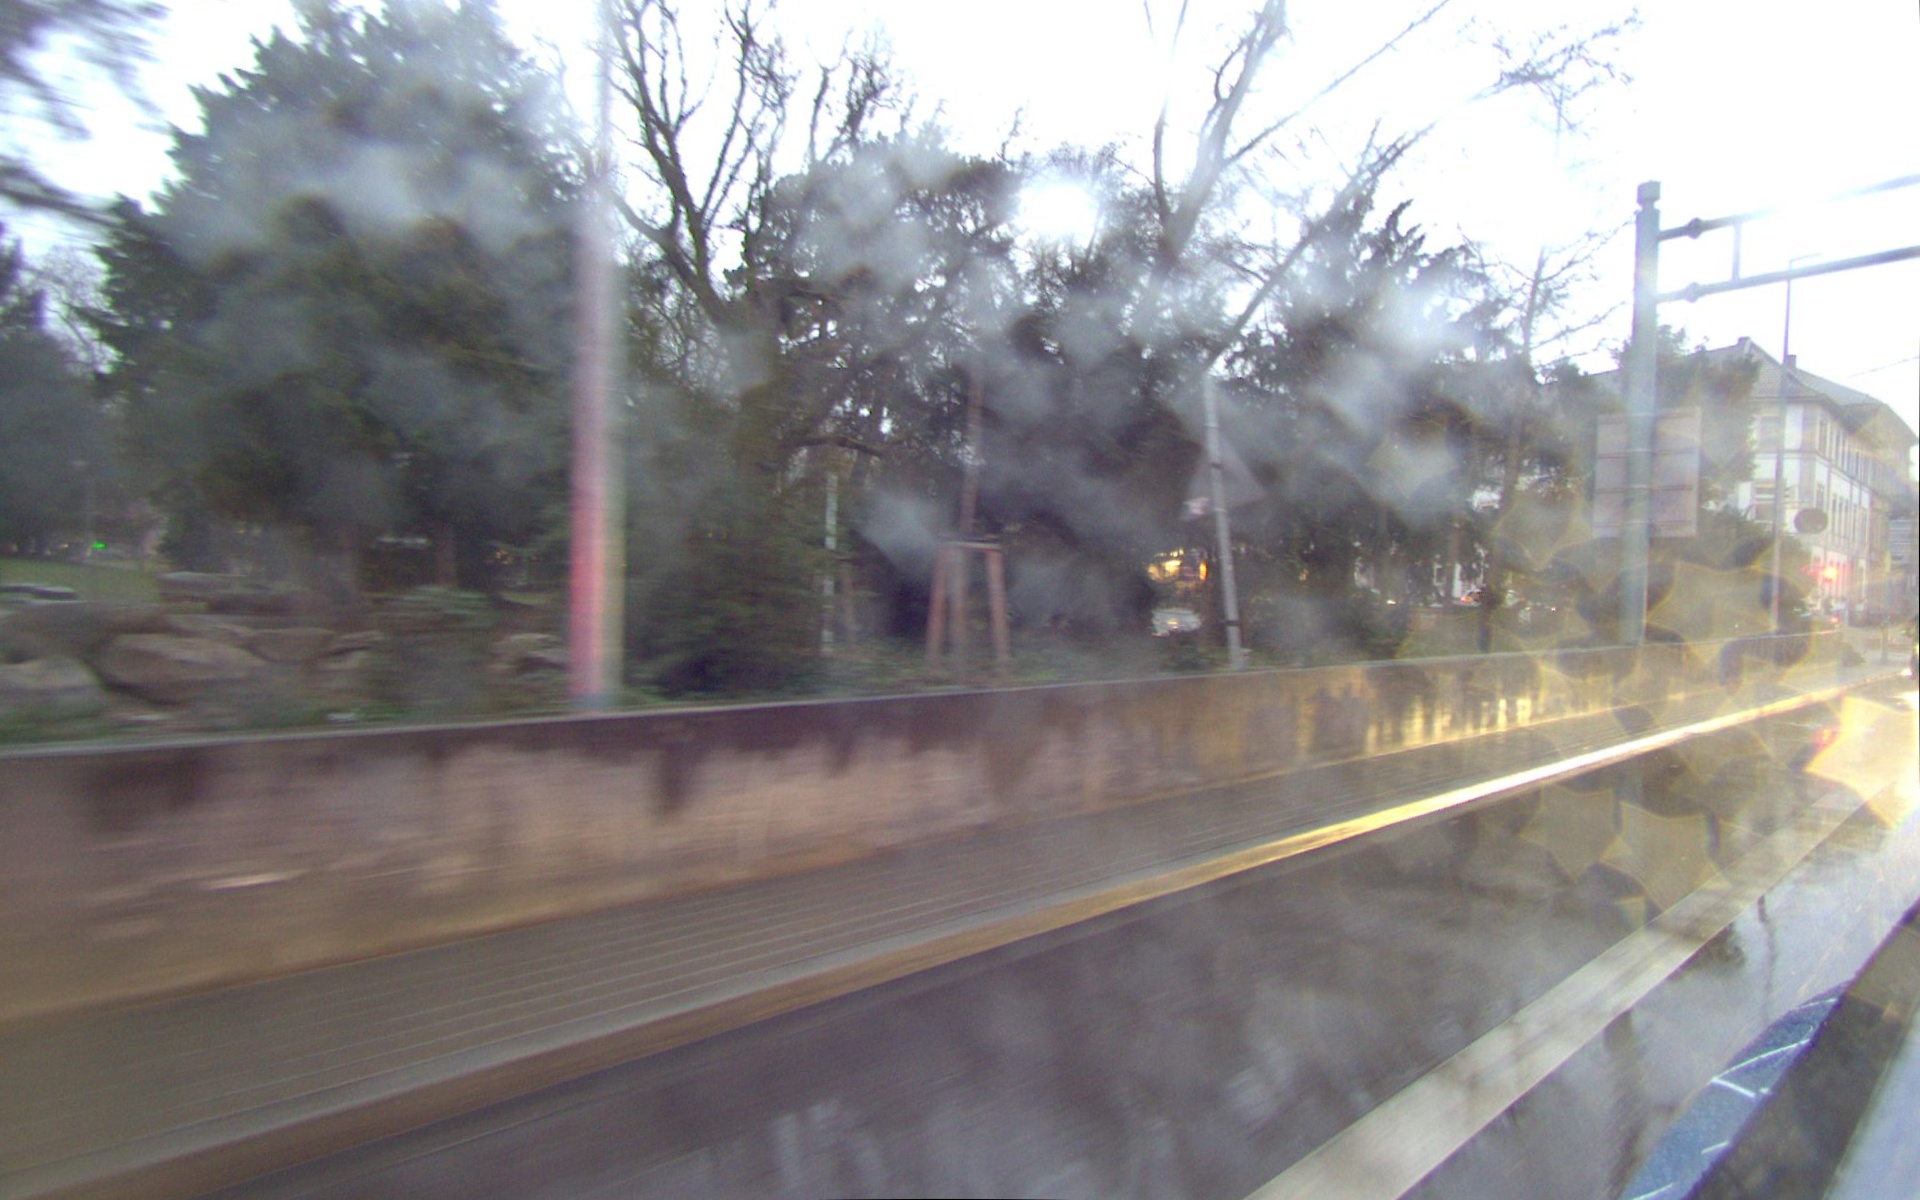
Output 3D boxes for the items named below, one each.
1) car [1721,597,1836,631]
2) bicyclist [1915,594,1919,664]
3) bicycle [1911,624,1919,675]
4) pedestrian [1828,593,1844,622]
[{"bbox_3d":[39.447,0.664,48.899,3.966,1.429,1.858,2,1,30],"label":"car"},{"bbox_3d":[19.555,0.587,20.194,0.875,1.406,0.646,1,1,-43],"label":"bicyclist"},{"bbox_3d":[19.554,0.985,20.220,2.011,0.978,0.646,0,1,-43],"label":"bicycle"},{"bbox_3d":[46.294,0.383,53.484,0.577,1.529,0.520,1,1,-41],"label":"pedestrian"}]
